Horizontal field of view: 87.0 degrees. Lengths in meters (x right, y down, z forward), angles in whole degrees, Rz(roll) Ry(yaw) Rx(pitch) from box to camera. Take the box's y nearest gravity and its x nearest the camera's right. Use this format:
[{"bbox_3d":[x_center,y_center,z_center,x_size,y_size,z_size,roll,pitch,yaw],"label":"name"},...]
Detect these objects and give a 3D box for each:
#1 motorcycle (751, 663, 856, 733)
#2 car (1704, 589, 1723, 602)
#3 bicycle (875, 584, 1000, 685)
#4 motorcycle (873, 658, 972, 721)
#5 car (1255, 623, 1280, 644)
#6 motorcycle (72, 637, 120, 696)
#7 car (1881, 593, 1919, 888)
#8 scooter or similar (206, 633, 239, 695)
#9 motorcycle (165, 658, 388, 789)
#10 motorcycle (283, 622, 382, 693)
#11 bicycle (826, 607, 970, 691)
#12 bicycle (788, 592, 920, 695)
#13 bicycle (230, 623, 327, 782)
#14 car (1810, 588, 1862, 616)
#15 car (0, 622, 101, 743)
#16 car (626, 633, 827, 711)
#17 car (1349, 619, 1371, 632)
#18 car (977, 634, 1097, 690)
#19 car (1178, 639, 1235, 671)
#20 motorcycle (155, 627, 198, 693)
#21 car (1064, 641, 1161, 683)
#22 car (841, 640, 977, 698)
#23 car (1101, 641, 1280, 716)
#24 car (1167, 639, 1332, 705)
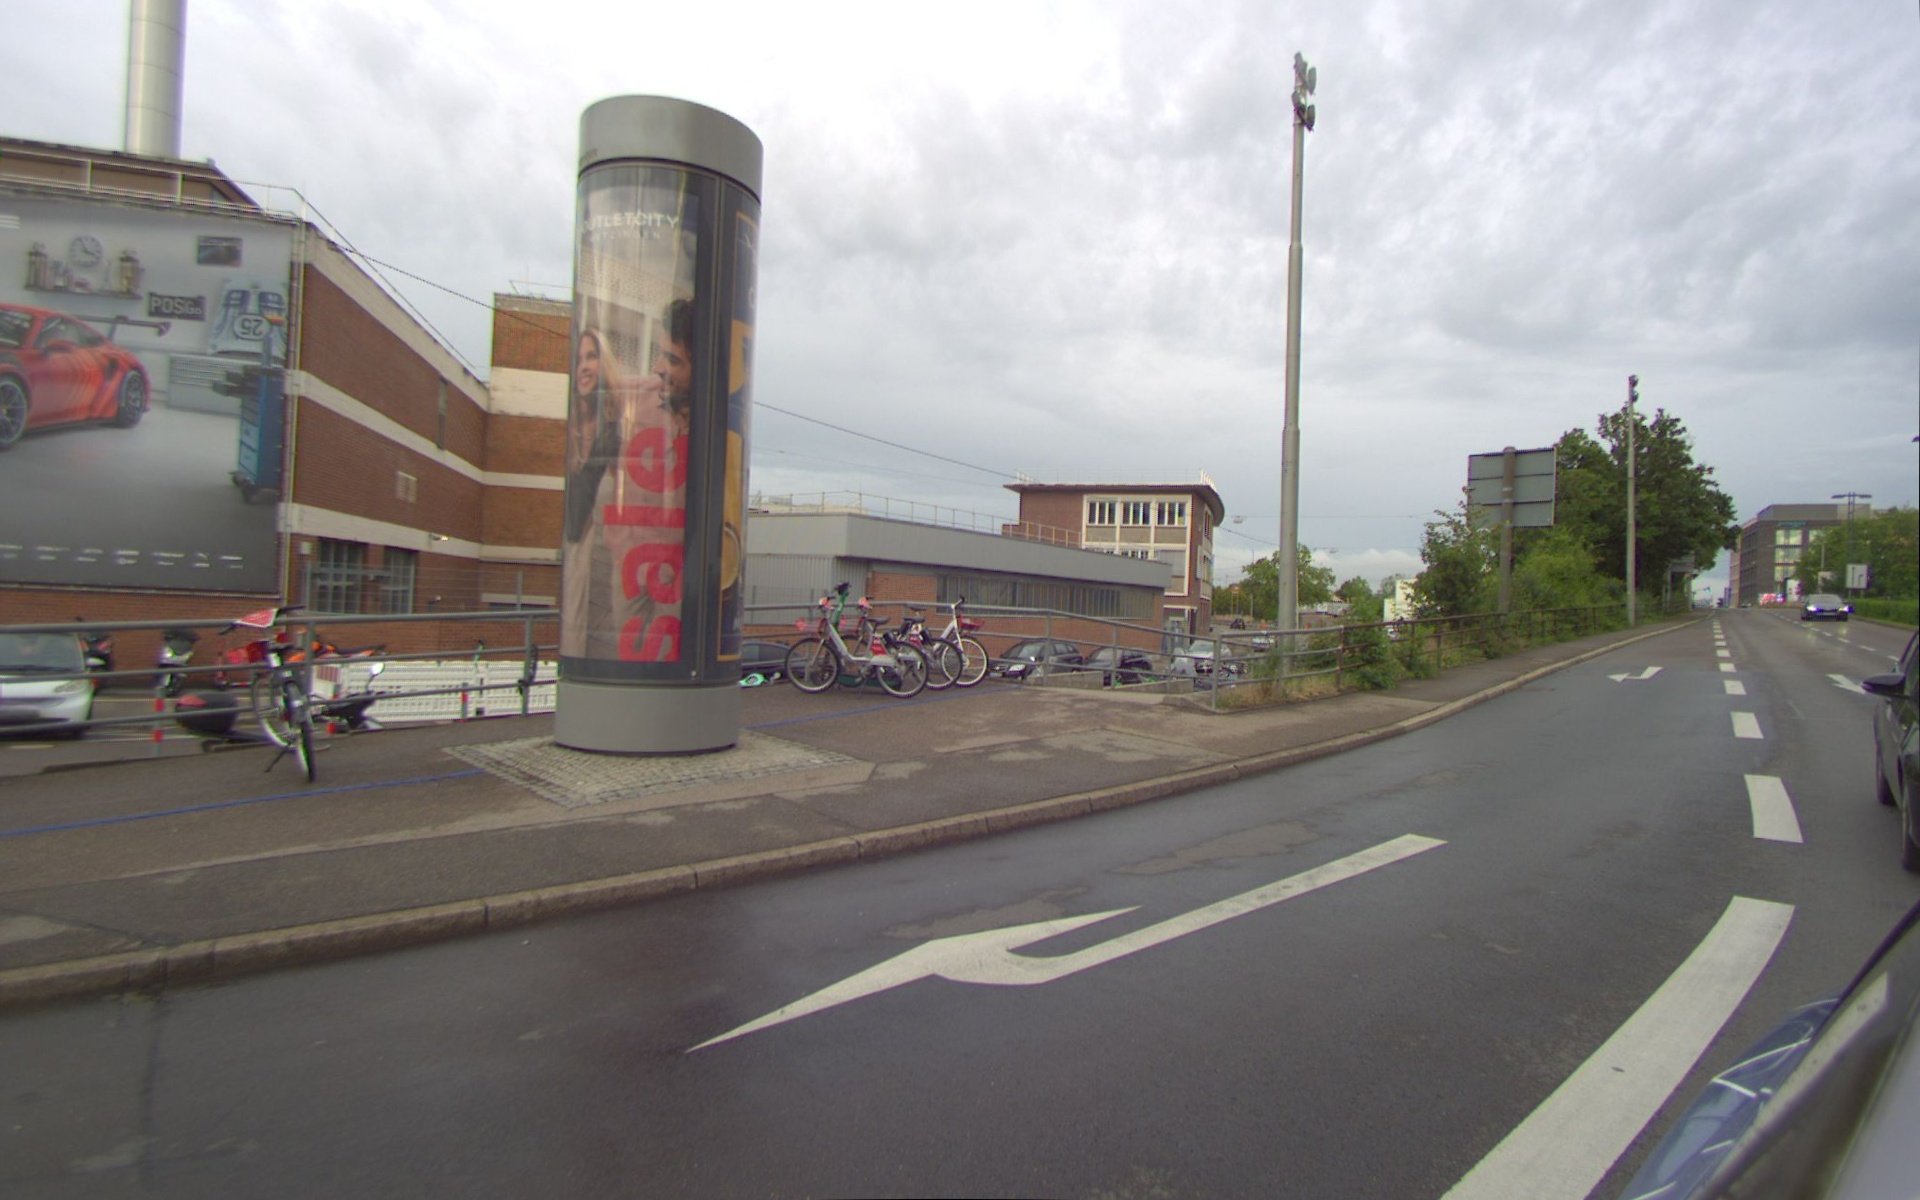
[{"bbox_3d":[-2.339,1.439,15.070,1.600,0.933,0.417,0,0,27],"label":"motorcycle"},{"bbox_3d":[93.209,-0.579,125.232,1.738,1.493,4.017,0,0,35],"label":"car"},{"bbox_3d":[-0.295,0.416,12.860,1.527,1.169,0.448,3,3,22],"label":"bicycle"},{"bbox_3d":[-0.623,1.441,16.502,1.599,0.933,0.418,0,0,25],"label":"motorcycle"},{"bbox_3d":[23.247,2.532,76.437,1.698,1.444,3.976,1,0,18],"label":"car"},{"bbox_3d":[-16.068,1.215,18.843,0.531,0.985,1.616,-1,0,-35],"label":"motorcycle"},{"bbox_3d":[6.783,0.733,6.080,1.687,1.526,3.953,0,1,40],"label":"car"},{"bbox_3d":[-14.631,1.244,20.092,0.495,1.110,1.639,-1,0,-35],"label":"scooter or similar"},{"bbox_3d":[-5.729,0.997,8.564,0.400,0.901,1.521,1,1,36],"label":"motorcycle"},{"bbox_3d":[-12.863,1.156,20.792,0.521,1.350,1.646,-1,0,38],"label":"motorcycle"},{"bbox_3d":[-0.729,0.577,12.132,1.673,0.933,0.486,1,1,4],"label":"bicycle"},{"bbox_3d":[-1.215,0.483,11.662,1.438,1.087,0.442,2,2,9],"label":"bicycle"},{"bbox_3d":[-4.825,0.664,7.132,0.414,0.933,1.615,1,0,-39],"label":"bicycle"},{"bbox_3d":[48.005,0.095,55.539,1.807,1.457,4.246,0,0,36],"label":"car"},{"bbox_3d":[-13.994,1.137,15.179,1.541,1.508,3.992,2,-1,-42],"label":"car"},{"bbox_3d":[-5.400,1.610,23.916,1.880,1.570,4.445,1,-1,38],"label":"car"},{"bbox_3d":[44.784,2.835,113.324,1.695,1.444,3.982,1,0,14],"label":"car"},{"bbox_3d":[2.677,2.046,34.421,1.777,1.688,4.438,1,-1,41],"label":"car"},{"bbox_3d":[12.384,2.696,50.687,1.719,1.406,3.956,1,-1,30],"label":"car"},{"bbox_3d":[-15.221,1.148,19.686,0.574,1.166,1.720,-1,0,-35],"label":"motorcycle"},{"bbox_3d":[5.939,2.343,39.017,1.713,1.422,4.211,1,-1,41],"label":"car"},{"bbox_3d":[-1.407,1.937,29.165,1.712,1.444,3.943,1,-1,39],"label":"car"},{"bbox_3d":[5.368,1.786,23.988,1.688,1.444,3.999,2,-1,-36],"label":"car"},{"bbox_3d":[7.584,1.838,26.820,1.688,1.444,3.999,2,-1,-36],"label":"car"}]
